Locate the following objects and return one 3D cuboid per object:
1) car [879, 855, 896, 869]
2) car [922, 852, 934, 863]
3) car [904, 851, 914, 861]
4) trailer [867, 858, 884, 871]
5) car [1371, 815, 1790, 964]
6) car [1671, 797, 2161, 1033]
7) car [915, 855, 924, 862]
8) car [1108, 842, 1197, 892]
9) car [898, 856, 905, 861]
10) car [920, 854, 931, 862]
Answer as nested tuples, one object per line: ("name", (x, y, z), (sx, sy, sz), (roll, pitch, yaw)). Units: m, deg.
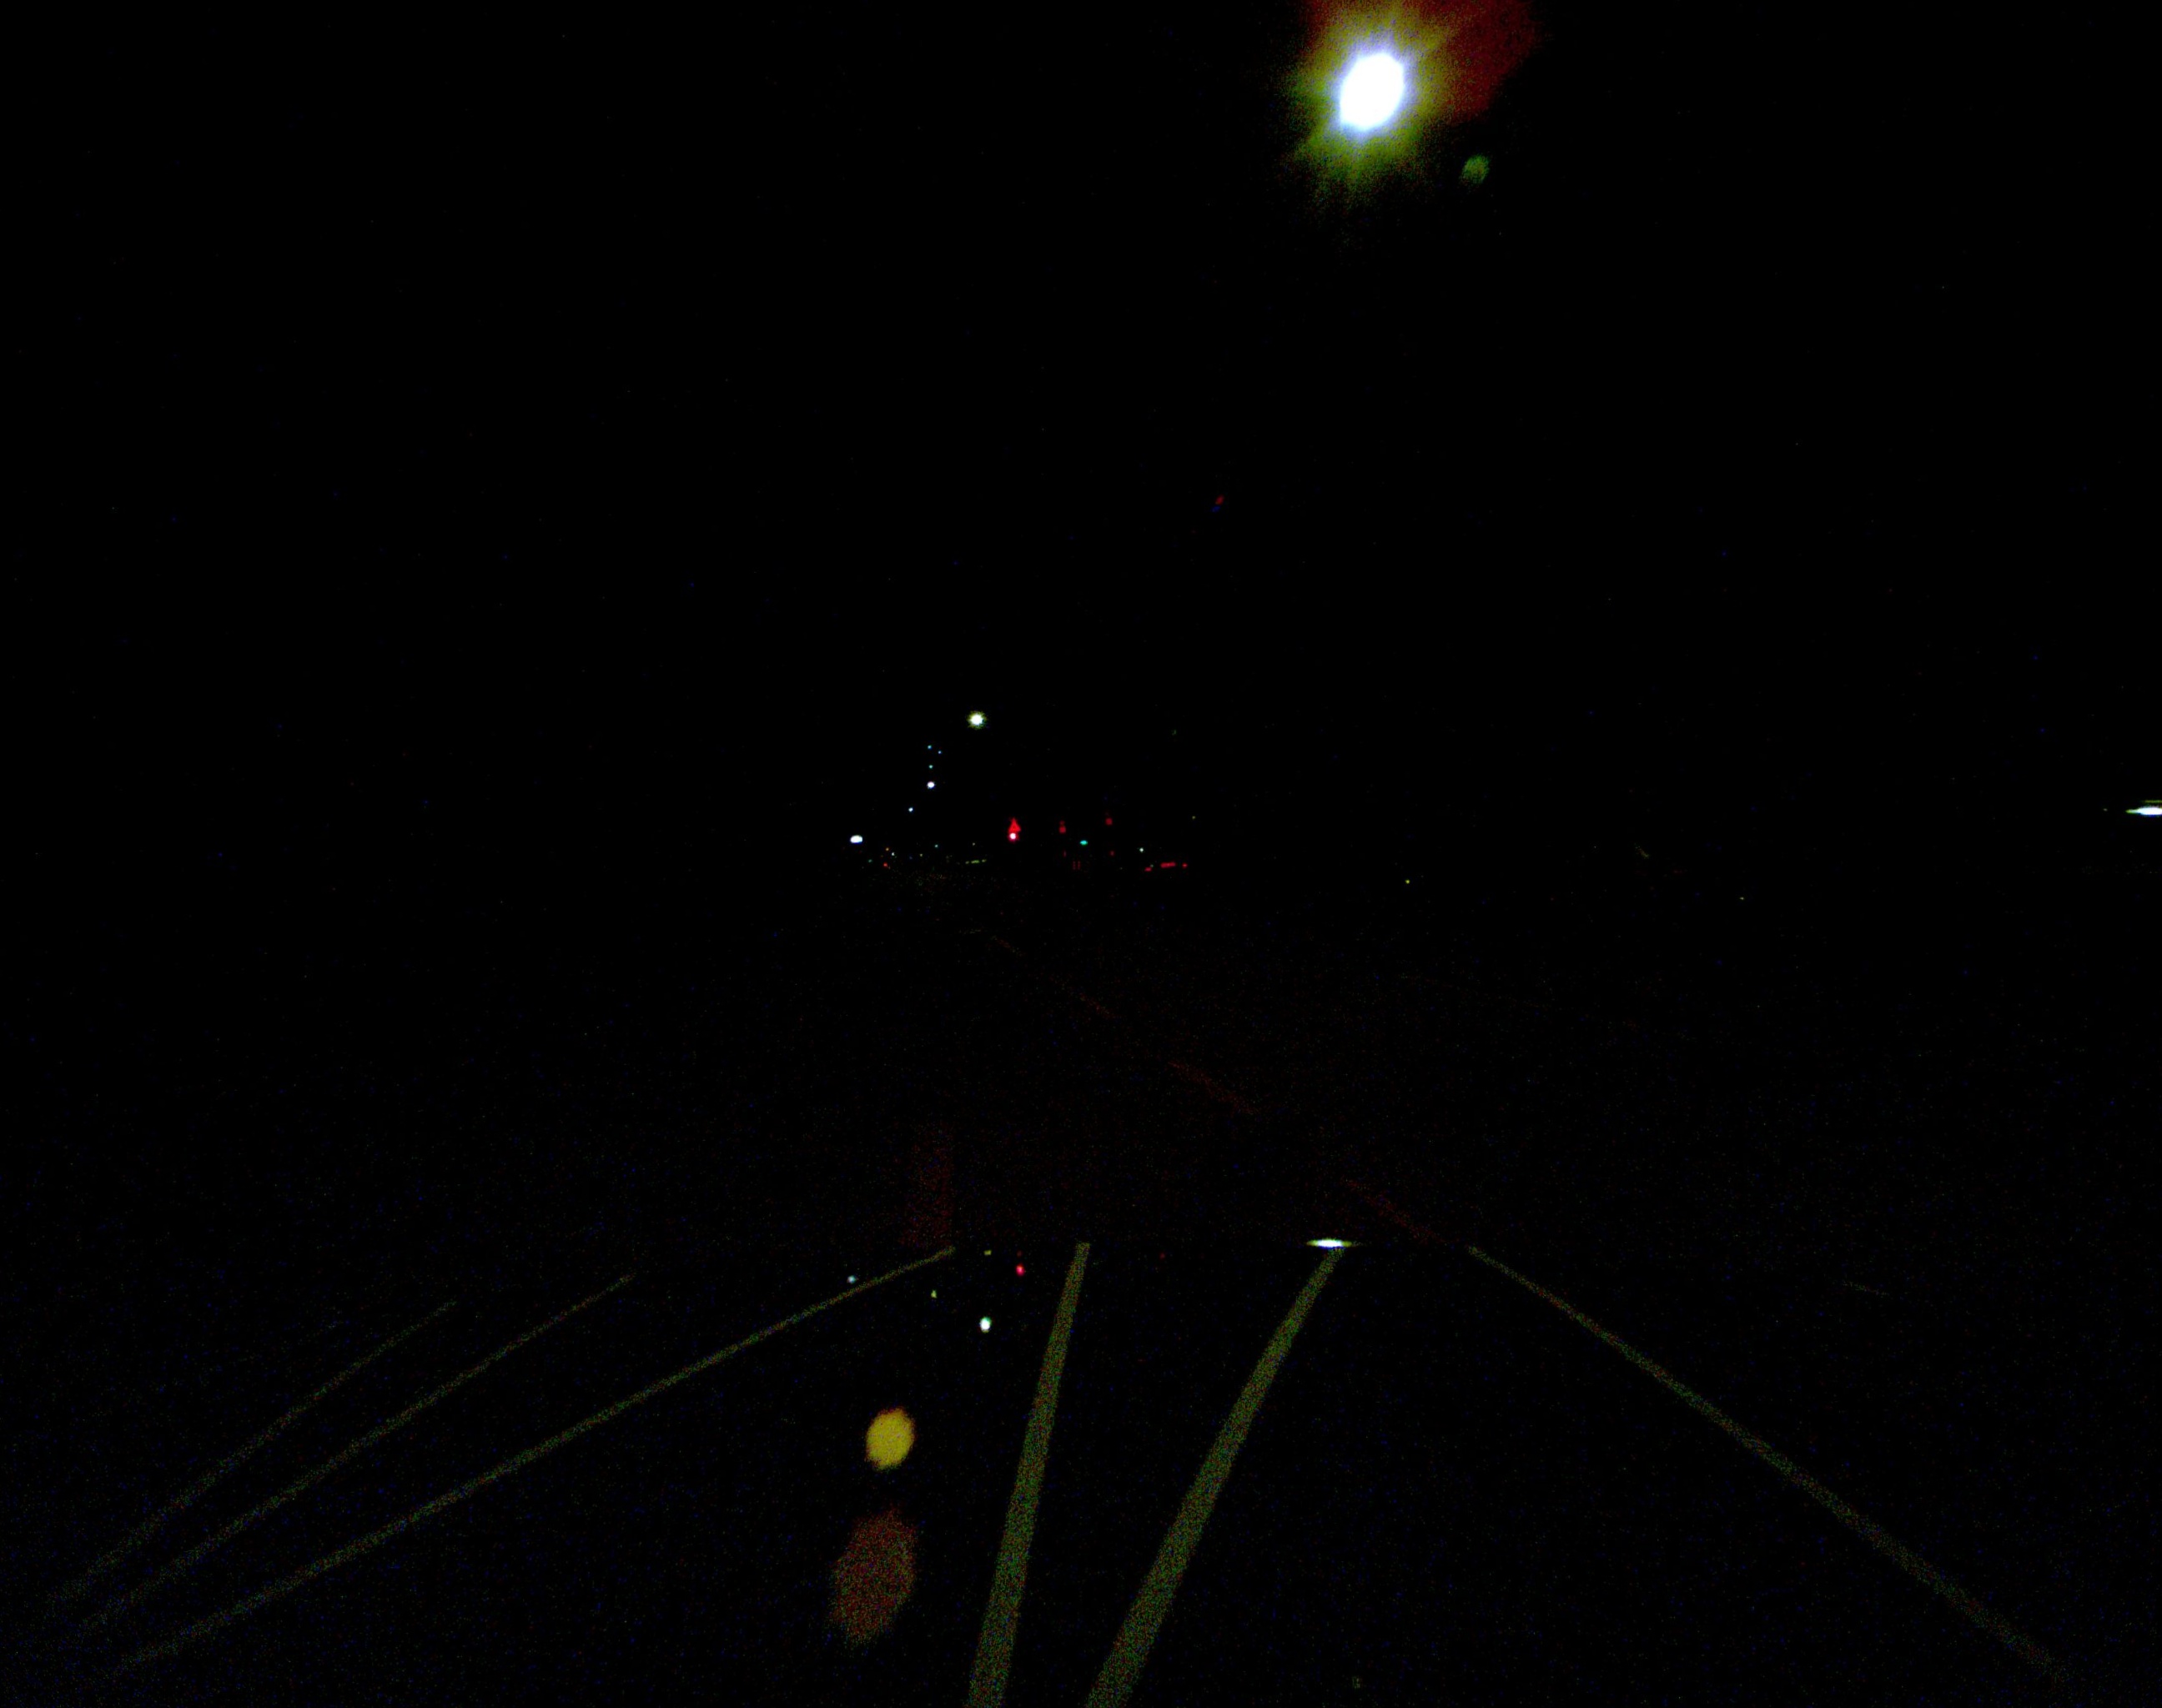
("car", (-21.874, 0.863, 85.926), (1.592, 1.453, 3.792), (-5, 1, -12))
("car", (-29.051, 0.607, 144.413), (1.884, 1.799, 3.726), (-7, 1, -13))
("car", (-48.567, 0.522, 214.638), (2.007, 2.493, 4.947), (-7, 2, -16))
("trailer", (-25.436, 1.276, 94.142), (1.606, 1.486, 3.730), (-5, 1, -11))
("car", (6.287, 0.361, 10.418), (1.775, 1.477, 4.761), (-3, 1, -16))
("car", (7.524, 0.348, 5.637), (1.774, 1.477, 4.857), (-3, 1, -15))
("car", (-36.541, 1.011, 171.402), (1.828, 1.637, 3.726), (-3, 1, -14))
("car", (2.386, 0.422, 26.349), (1.720, 1.485, 3.985), (-5, 1, -14))
("car", (-56.785, 1.558, 240.855), (1.828, 1.424, 3.726), (-7, 1, -16))
("car", (-30.744, 0.830, 150.150), (1.828, 1.424, 3.726), (-7, 1, -13))
